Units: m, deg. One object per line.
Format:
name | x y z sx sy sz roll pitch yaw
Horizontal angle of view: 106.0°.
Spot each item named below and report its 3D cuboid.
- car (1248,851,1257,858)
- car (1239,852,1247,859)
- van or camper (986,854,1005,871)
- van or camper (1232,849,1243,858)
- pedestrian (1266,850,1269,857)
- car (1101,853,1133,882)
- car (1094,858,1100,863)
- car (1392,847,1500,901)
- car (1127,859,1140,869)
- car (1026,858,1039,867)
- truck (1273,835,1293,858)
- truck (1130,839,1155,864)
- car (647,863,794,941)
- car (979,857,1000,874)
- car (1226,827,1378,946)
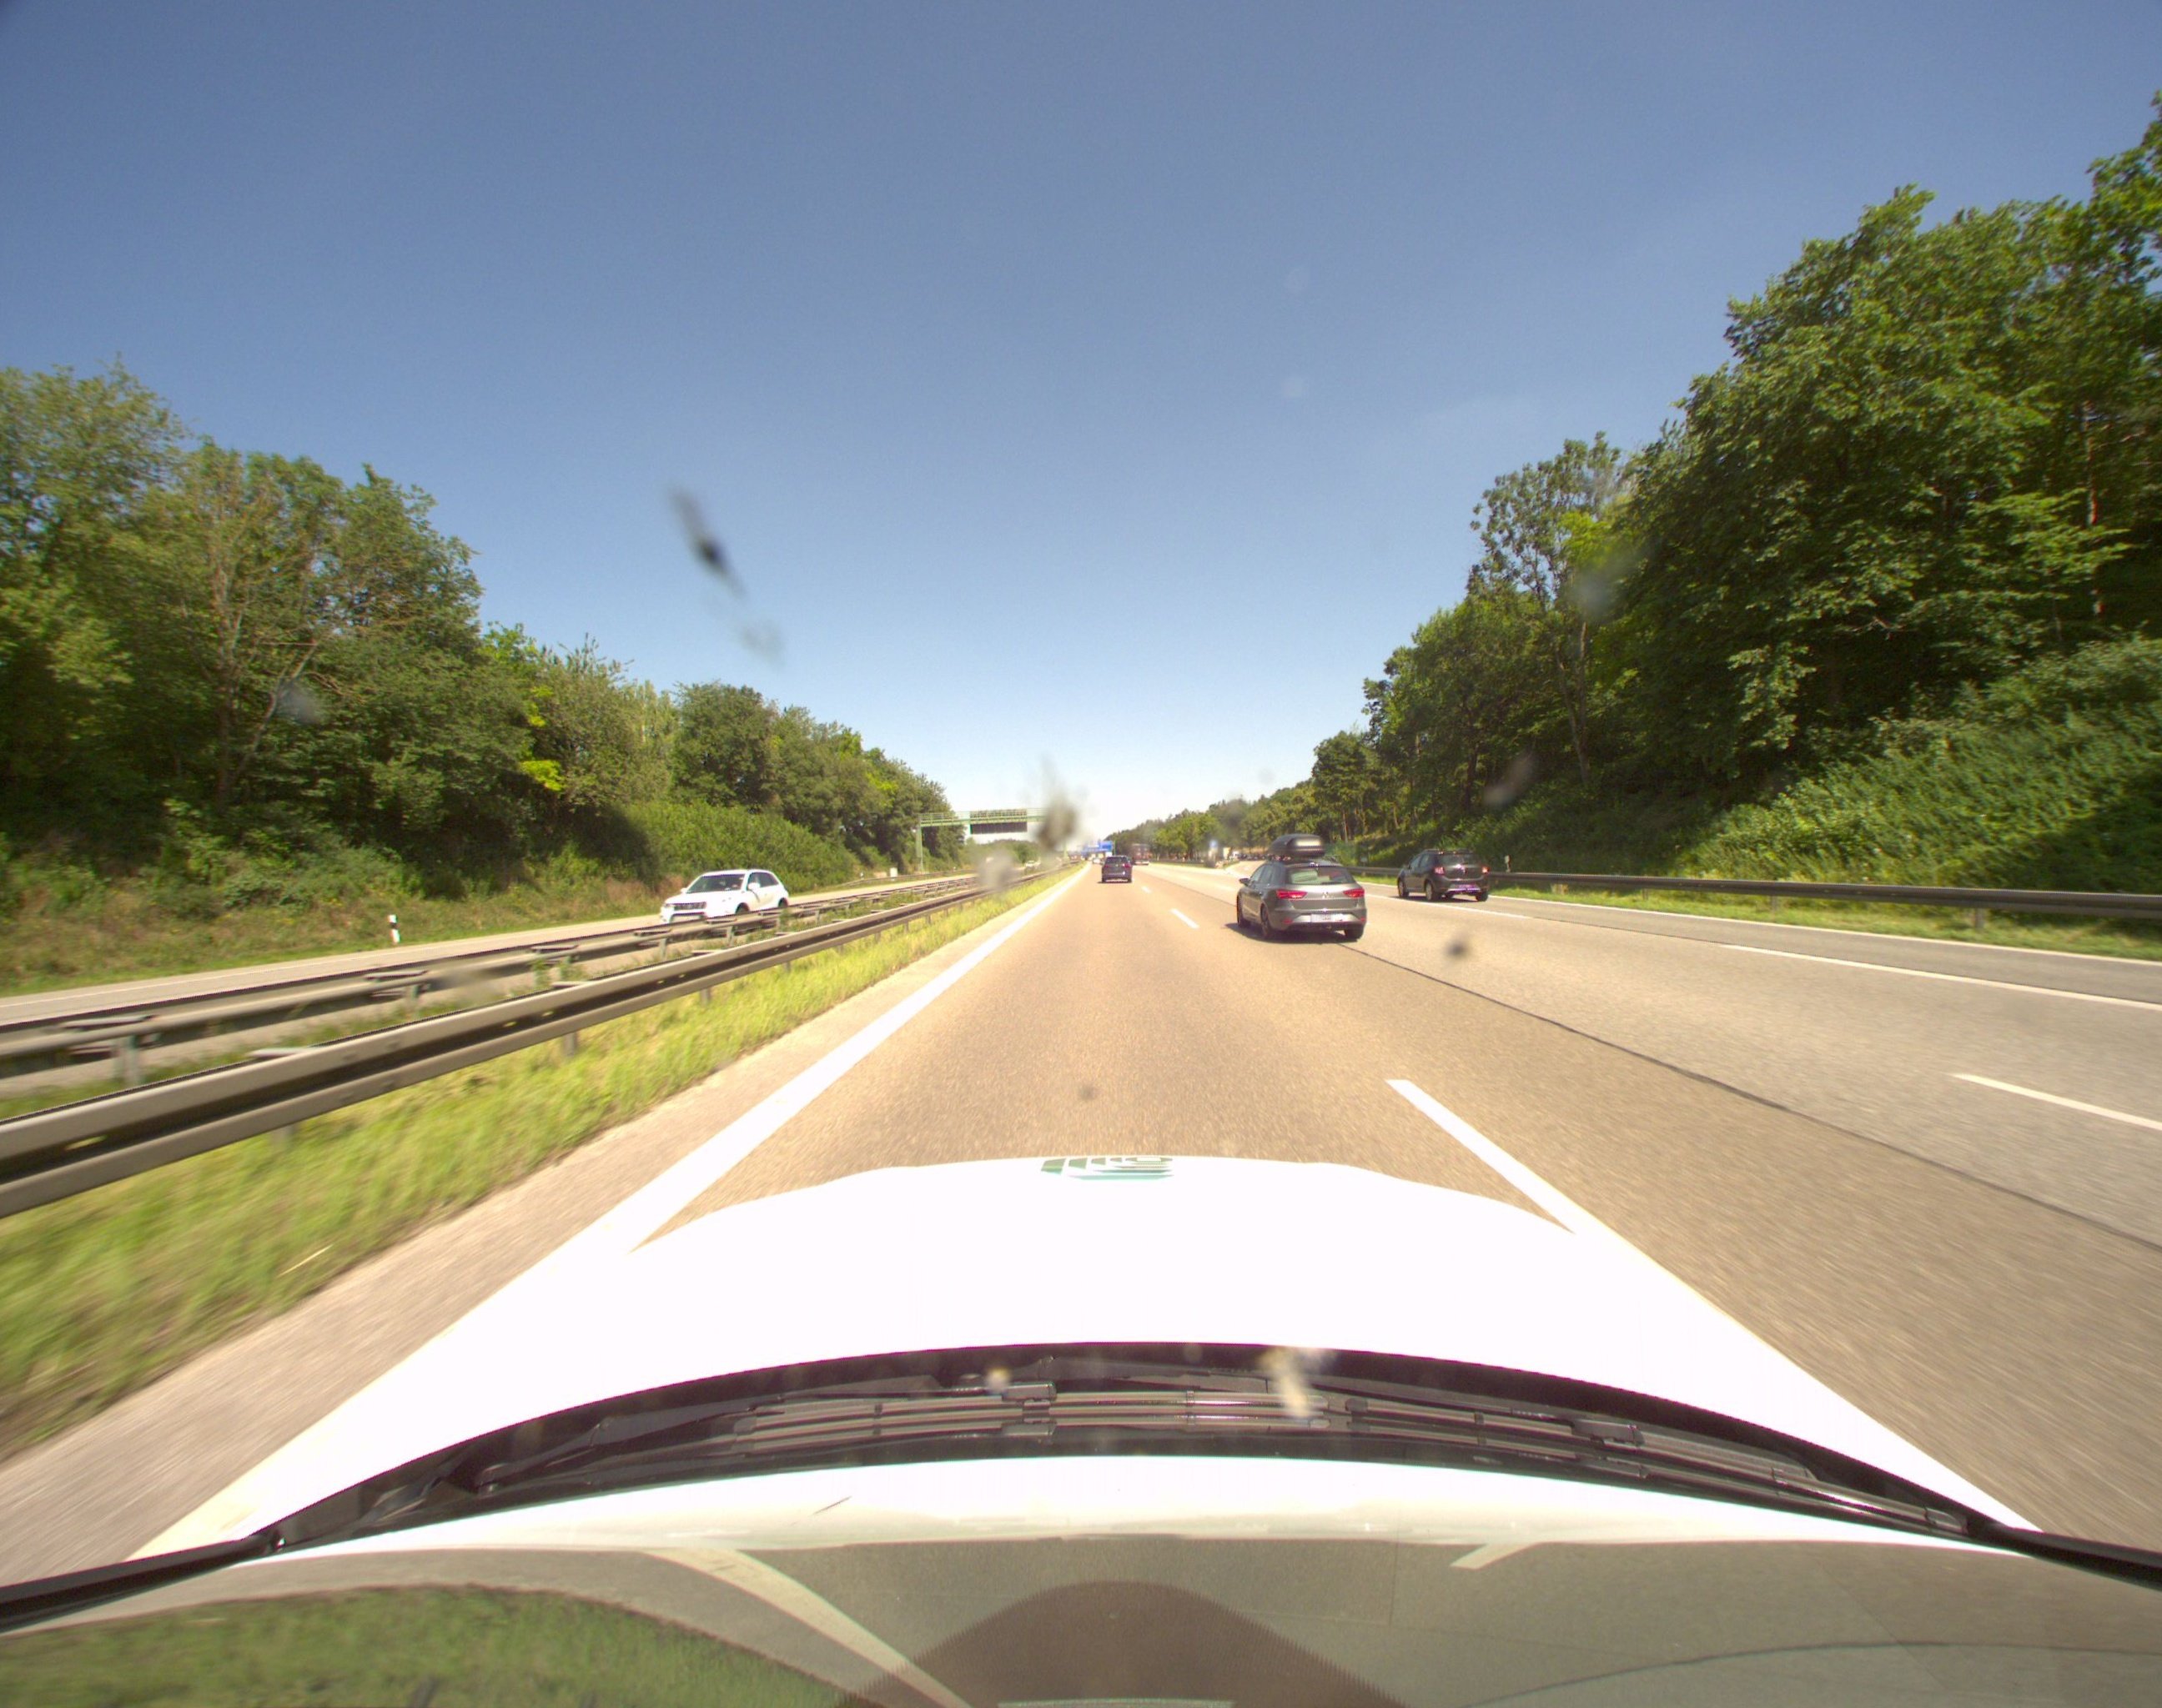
car | 46.424 0.151 220.547 1.649 1.675 4.654 -2 0 2
car | 45.897 0.485 230.210 1.648 1.877 4.807 -2 0 5
van or camper | -13.651 1.322 130.275 2.031 2.559 6.199 -4 0 1
van or camper | 46.653 -0.214 243.327 2.196 2.530 5.876 -2 0 1
pedestrian | 46.262 -0.206 201.974 0.792 1.782 0.645 -2 0 14
car | 2.212 0.774 49.394 1.791 1.669 4.262 -1 0 4
car | 3.697 1.547 190.839 1.466 1.227 3.411 -2 0 1
car | 11.455 0.583 25.873 1.757 1.568 4.262 -1 0 4
car | 7.562 1.434 117.644 1.757 1.381 4.262 -1 0 4
car | -9.490 1.677 159.235 1.872 1.610 5.311 -4 0 1
truck | 37.651 -1.440 152.054 3.263 3.947 9.382 -2 0 12
truck | 11.474 -0.400 154.018 3.767 4.422 14.053 -2 0 1
car | -8.956 1.129 20.611 1.805 1.617 3.914 -4 0 1
car | -11.036 1.350 98.464 1.739 1.830 5.170 -4 0 1
car | 4.081 0.532 15.860 1.659 1.876 4.828 -3 0 1
